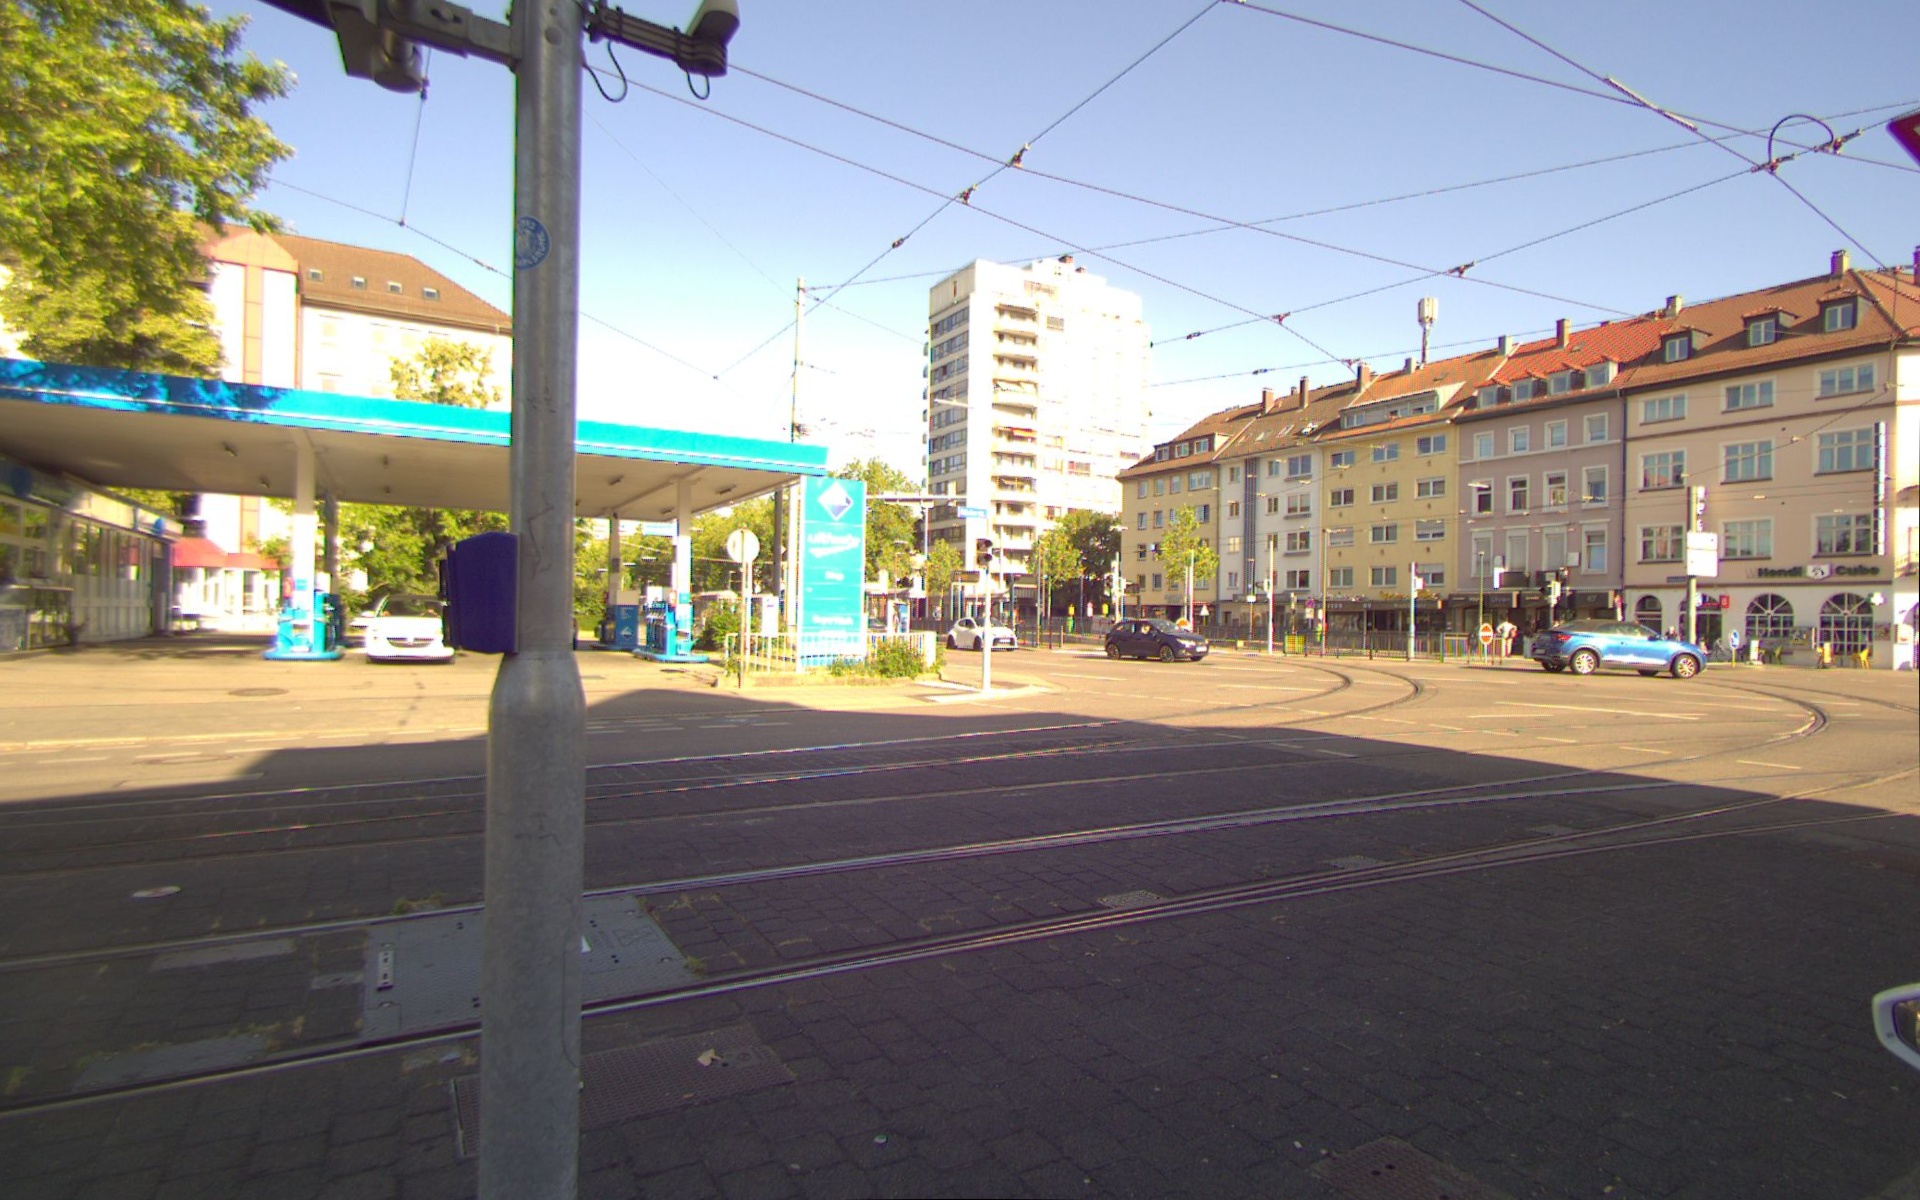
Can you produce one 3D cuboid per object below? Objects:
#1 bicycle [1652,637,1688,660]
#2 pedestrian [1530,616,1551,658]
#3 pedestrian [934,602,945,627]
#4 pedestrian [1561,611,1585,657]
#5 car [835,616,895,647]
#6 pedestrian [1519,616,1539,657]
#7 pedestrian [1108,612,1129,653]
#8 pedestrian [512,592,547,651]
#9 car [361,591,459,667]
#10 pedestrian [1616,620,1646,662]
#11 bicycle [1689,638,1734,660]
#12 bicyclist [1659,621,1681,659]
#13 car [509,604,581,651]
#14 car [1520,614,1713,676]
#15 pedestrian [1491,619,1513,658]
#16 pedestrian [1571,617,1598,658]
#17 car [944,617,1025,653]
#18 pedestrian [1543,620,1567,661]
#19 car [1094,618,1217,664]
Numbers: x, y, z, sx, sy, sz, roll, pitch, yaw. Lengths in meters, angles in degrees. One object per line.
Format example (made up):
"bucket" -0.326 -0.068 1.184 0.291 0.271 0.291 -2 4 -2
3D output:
"bicycle" 34.040 2.325 48.178 1.731 1.044 0.619 2 0 -25
"pedestrian" 23.776 1.515 41.133 0.492 1.670 0.520 2 0 -30
"pedestrian" -1.806 1.285 88.683 0.729 2.127 0.880 2 0 -21
"pedestrian" 24.764 1.373 40.557 0.669 1.847 0.524 2 0 -30
"car" -5.311 1.723 55.827 1.770 1.524 3.886 -3 1 -31
"pedestrian" 23.659 1.515 41.779 0.492 1.670 0.520 2 0 -30
"pedestrian" 6.469 1.300 40.897 0.750 1.631 0.613 2 0 15
"pedestrian" -12.759 0.638 29.773 0.838 1.724 0.644 2 -3 -31
"car" -12.217 0.595 22.350 1.723 1.455 3.905 2 1 -29
"pedestrian" 26.414 1.619 39.533 0.805 1.615 0.665 2 0 -30
"bicycle" 37.834 2.467 50.591 0.603 0.996 1.693 2 0 -29
"bicyclist" 34.076 1.927 48.188 0.606 1.814 0.619 2 0 -25
"car" -13.520 0.862 32.641 1.659 1.372 3.559 2 0 -31
"car" 18.187 1.214 27.998 4.114 1.596 1.832 1 0 5
"pedestrian" 23.834 1.676 44.148 0.609 1.670 0.581 2 0 -30
"pedestrian" 25.504 1.536 41.043 0.831 1.670 0.579 2 0 -30
"car" 1.017 1.507 44.068 1.874 1.473 3.980 1 -1 -28
"pedestrian" 25.131 1.713 42.429 0.719 1.670 0.570 2 0 -30
"car" 6.606 1.346 34.207 1.814 1.422 3.959 1 -1 -36
